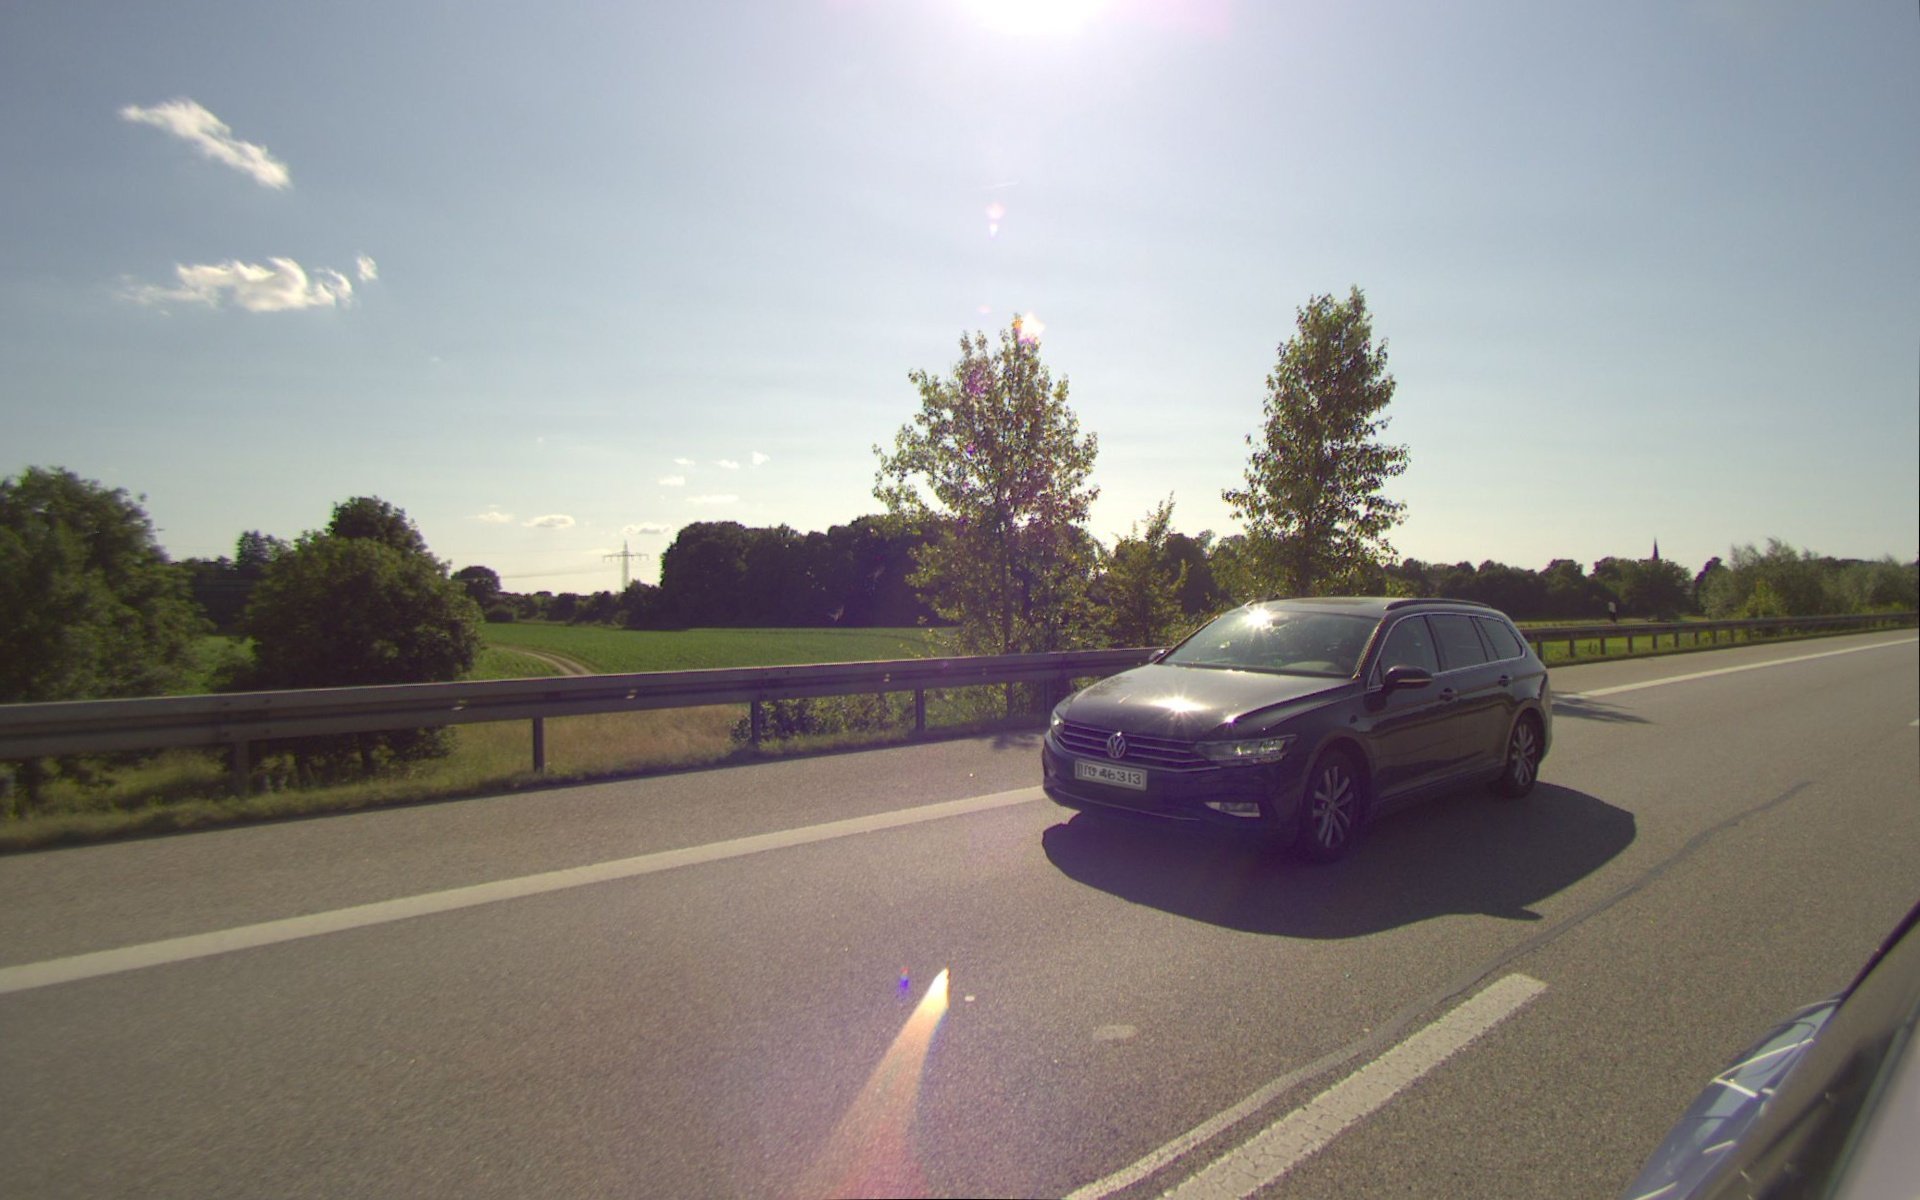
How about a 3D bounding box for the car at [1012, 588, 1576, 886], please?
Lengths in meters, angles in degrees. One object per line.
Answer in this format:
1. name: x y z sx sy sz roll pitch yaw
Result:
1. car: 2.504 0.631 6.927 4.337 1.417 1.721 -1 1 -41
